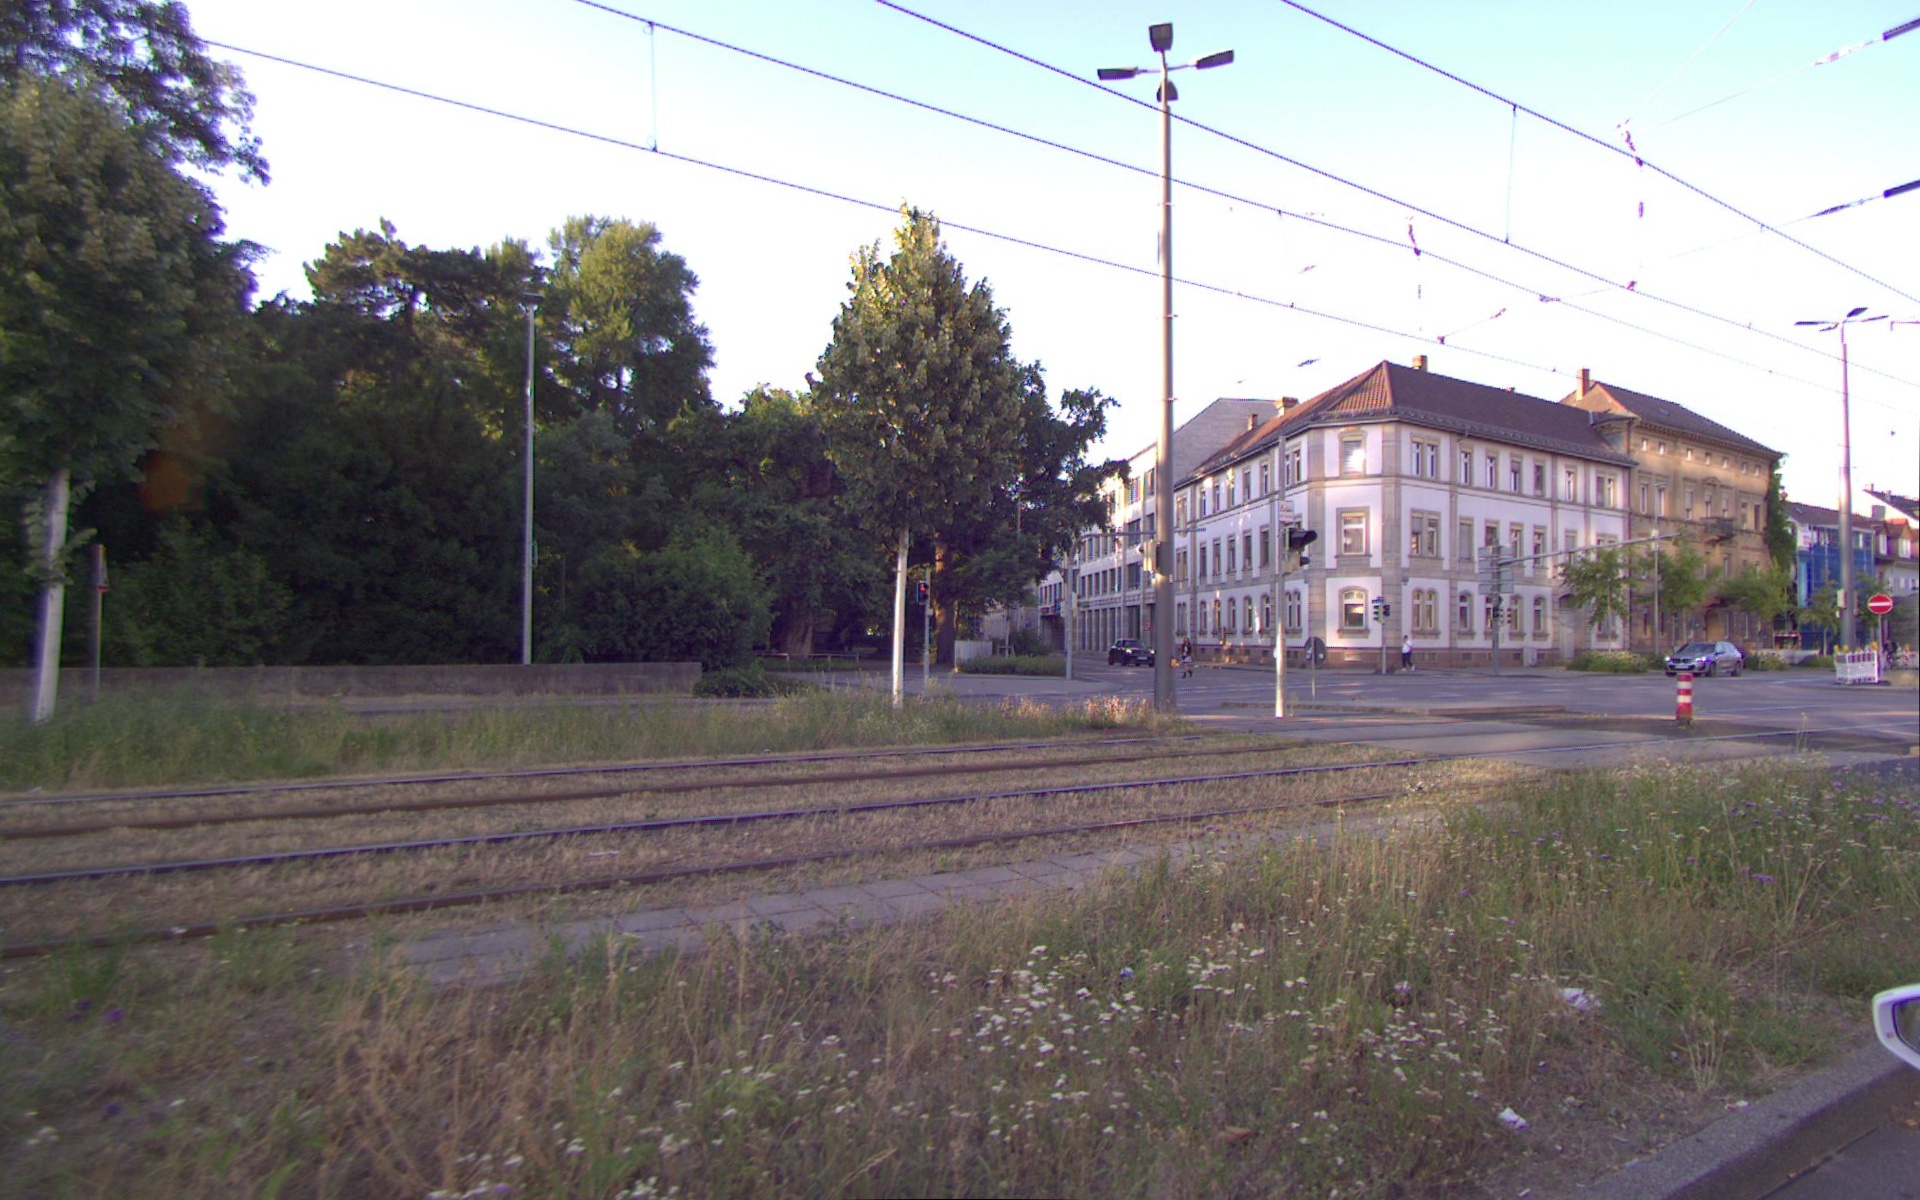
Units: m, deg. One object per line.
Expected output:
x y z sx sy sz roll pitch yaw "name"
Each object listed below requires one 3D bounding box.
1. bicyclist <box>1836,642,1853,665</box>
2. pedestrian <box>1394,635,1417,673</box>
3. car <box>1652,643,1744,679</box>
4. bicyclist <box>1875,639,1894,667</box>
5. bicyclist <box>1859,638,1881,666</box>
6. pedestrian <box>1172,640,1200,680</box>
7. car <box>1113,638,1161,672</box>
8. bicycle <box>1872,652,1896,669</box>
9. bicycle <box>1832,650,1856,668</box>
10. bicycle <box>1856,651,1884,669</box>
51.604 3.132 58.594 0.454 1.283 0.587 1 0 -30 "bicyclist"
21.143 2.548 47.632 0.796 1.738 0.705 1 0 8 "pedestrian"
34.301 2.823 46.667 4.077 1.601 1.984 1 -3 -31 "car"
53.766 3.062 58.423 0.702 1.590 0.587 1 0 -30 "bicyclist"
54.119 3.097 59.734 0.783 1.592 0.768 1 0 -30 "bicyclist"
8.709 2.300 38.683 0.928 1.478 0.598 2 0 -39 "pedestrian"
9.405 2.914 53.748 1.755 1.576 3.999 1 0 -1 "car"
53.754 3.518 58.428 1.538 0.988 0.587 1 0 -31 "bicycle"
51.588 3.454 58.592 1.538 1.002 0.587 1 0 -31 "bicycle"
54.105 3.561 59.738 1.621 0.957 0.768 1 0 -31 "bicycle"
